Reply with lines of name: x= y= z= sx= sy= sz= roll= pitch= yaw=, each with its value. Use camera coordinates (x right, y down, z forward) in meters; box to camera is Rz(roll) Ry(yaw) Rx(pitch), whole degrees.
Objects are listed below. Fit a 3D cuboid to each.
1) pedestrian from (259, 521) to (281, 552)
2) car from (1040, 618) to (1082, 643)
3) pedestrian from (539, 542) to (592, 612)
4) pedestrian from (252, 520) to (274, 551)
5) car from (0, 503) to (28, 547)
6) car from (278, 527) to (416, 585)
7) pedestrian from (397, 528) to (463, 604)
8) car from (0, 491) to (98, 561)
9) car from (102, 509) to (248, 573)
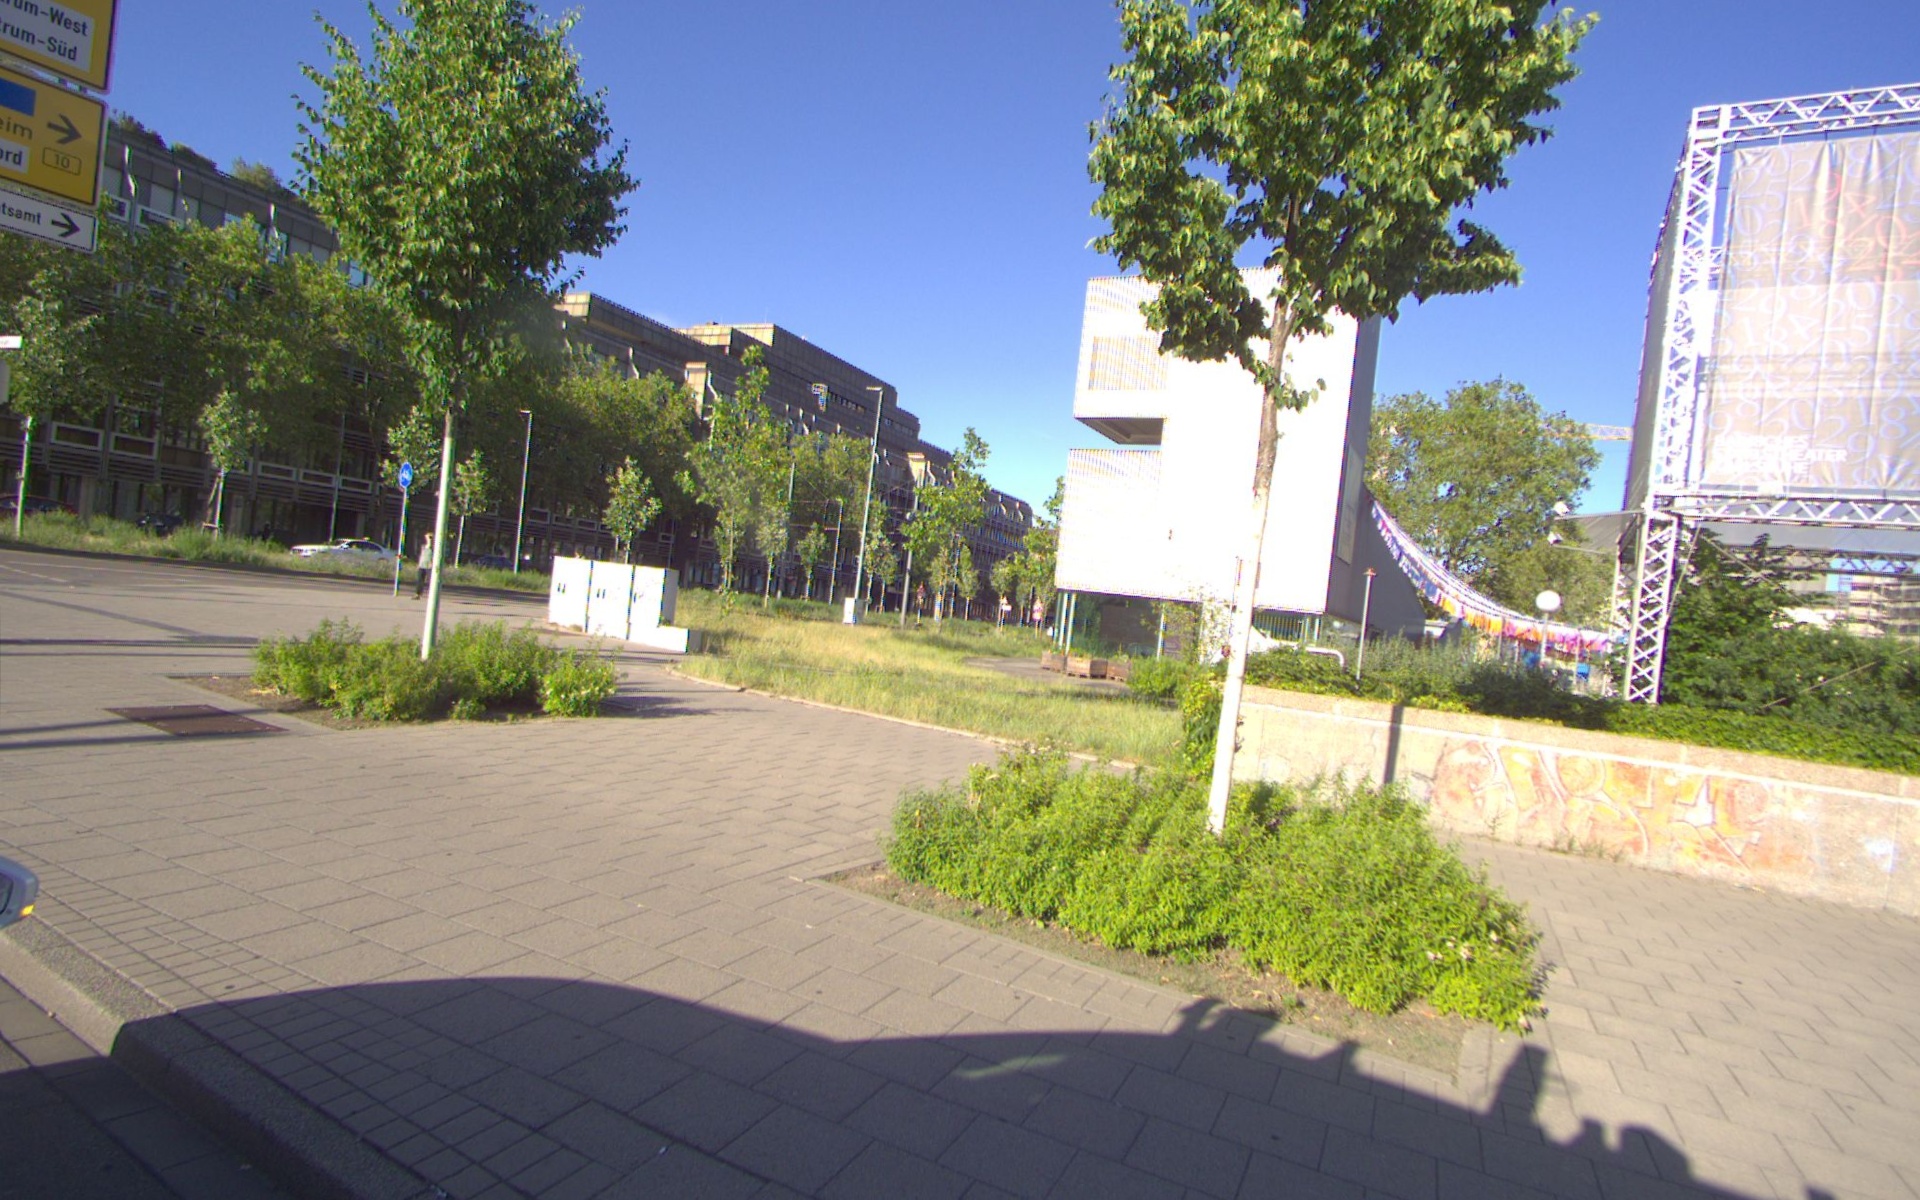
pedestrian: x=-40.738 y=-3.762 z=59.392 sx=0.728 sy=1.678 sz=0.665 roll=7 pitch=1 yaw=25
car: x=8.514 y=2.593 z=84.418 sx=1.964 sy=1.680 sz=4.404 roll=8 pitch=0 yaw=24
pedestrian: x=-10.594 y=-0.621 z=27.045 sx=0.925 sy=1.750 sz=0.695 roll=7 pitch=1 yaw=18
pedestrian: x=-41.486 y=-3.842 z=59.850 sx=0.728 sy=1.678 sz=0.665 roll=7 pitch=1 yaw=25
car: x=-37.246 y=-3.040 z=36.937 sx=1.836 sy=1.525 sz=3.997 roll=7 pitch=-2 yaw=29
car: x=-30.678 y=-2.177 z=50.577 sx=2.062 sy=2.036 sz=5.455 roll=6 pitch=-2 yaw=29
pedestrian: x=-12.489 y=-0.793 z=23.715 sx=0.925 sy=1.650 sz=0.803 roll=7 pitch=1 yaw=18
car: x=-33.316 y=-2.708 z=35.367 sx=1.966 sy=2.036 sz=3.997 roll=6 pitch=-2 yaw=29
car: x=-34.114 y=-2.525 z=43.874 sx=1.965 sy=2.036 sz=4.458 roll=7 pitch=-2 yaw=27
